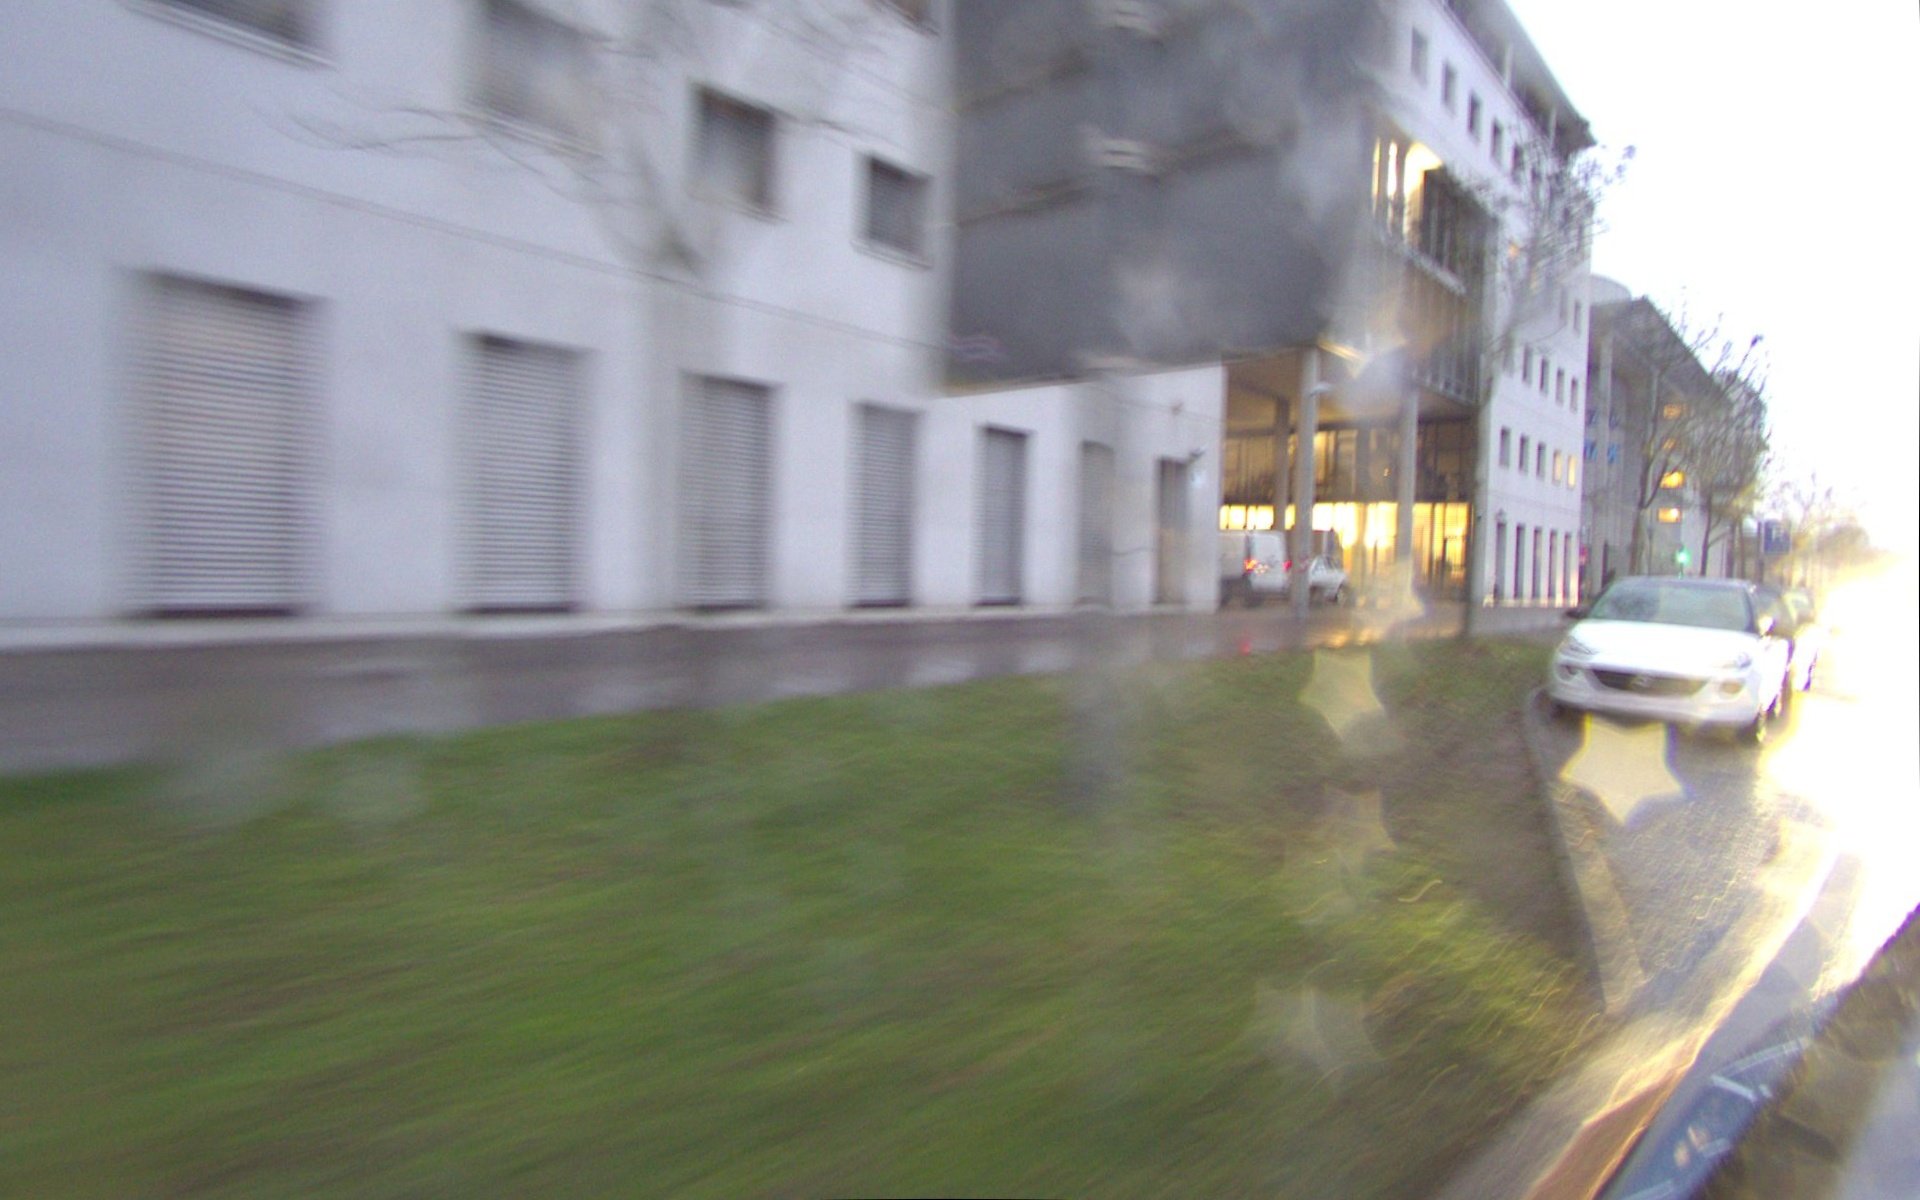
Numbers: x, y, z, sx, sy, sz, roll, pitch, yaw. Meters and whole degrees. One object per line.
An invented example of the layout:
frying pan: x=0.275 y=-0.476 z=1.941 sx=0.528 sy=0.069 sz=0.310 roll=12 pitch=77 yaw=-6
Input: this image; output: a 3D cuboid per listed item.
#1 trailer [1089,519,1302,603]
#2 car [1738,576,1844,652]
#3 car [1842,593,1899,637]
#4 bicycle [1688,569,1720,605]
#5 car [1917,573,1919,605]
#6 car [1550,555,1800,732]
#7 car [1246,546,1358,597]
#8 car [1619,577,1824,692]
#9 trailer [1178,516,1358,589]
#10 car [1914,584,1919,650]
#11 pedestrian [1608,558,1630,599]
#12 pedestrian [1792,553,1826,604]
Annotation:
trailer: x=5.987 y=-1.007 z=26.287 sx=2.093 sy=1.935 sz=5.077 roll=1 pitch=1 yaw=-41
car: x=18.536 y=0.238 z=22.508 sx=1.595 sy=1.458 sz=4.164 roll=1 pitch=3 yaw=42
car: x=39.640 y=0.607 z=44.050 sx=3.625 sy=1.696 sz=1.607 roll=-2 pitch=3 yaw=-44
bicycle: x=24.418 y=-0.444 z=33.203 sx=0.550 sy=1.128 sz=2.133 roll=5 pitch=5 yaw=42
car: x=58.512 y=-0.669 z=60.345 sx=1.995 sy=1.806 sz=3.638 roll=2 pitch=3 yaw=45
car: x=7.346 y=0.330 z=10.274 sx=1.592 sy=1.411 sz=3.433 roll=5 pitch=4 yaw=42
car: x=10.411 y=-0.896 z=30.618 sx=1.631 sy=1.387 sz=4.465 roll=5 pitch=5 yaw=40
car: x=11.137 y=0.408 z=14.698 sx=4.180 sy=1.420 sz=1.755 roll=0 pitch=1 yaw=-44
trailer: x=11.847 y=-1.888 z=39.248 sx=6.250 sy=2.612 sz=2.178 roll=4 pitch=3 yaw=40
car: x=25.380 y=0.422 z=25.590 sx=1.759 sy=1.547 sz=3.678 roll=1 pitch=3 yaw=43
pedestrian: x=29.237 y=-0.960 z=44.878 sx=0.736 sy=1.757 sz=0.693 roll=1 pitch=2 yaw=40
pedestrian: x=31.994 y=-0.820 z=38.152 sx=0.770 sy=1.829 sz=0.689 roll=8 pitch=7 yaw=40
